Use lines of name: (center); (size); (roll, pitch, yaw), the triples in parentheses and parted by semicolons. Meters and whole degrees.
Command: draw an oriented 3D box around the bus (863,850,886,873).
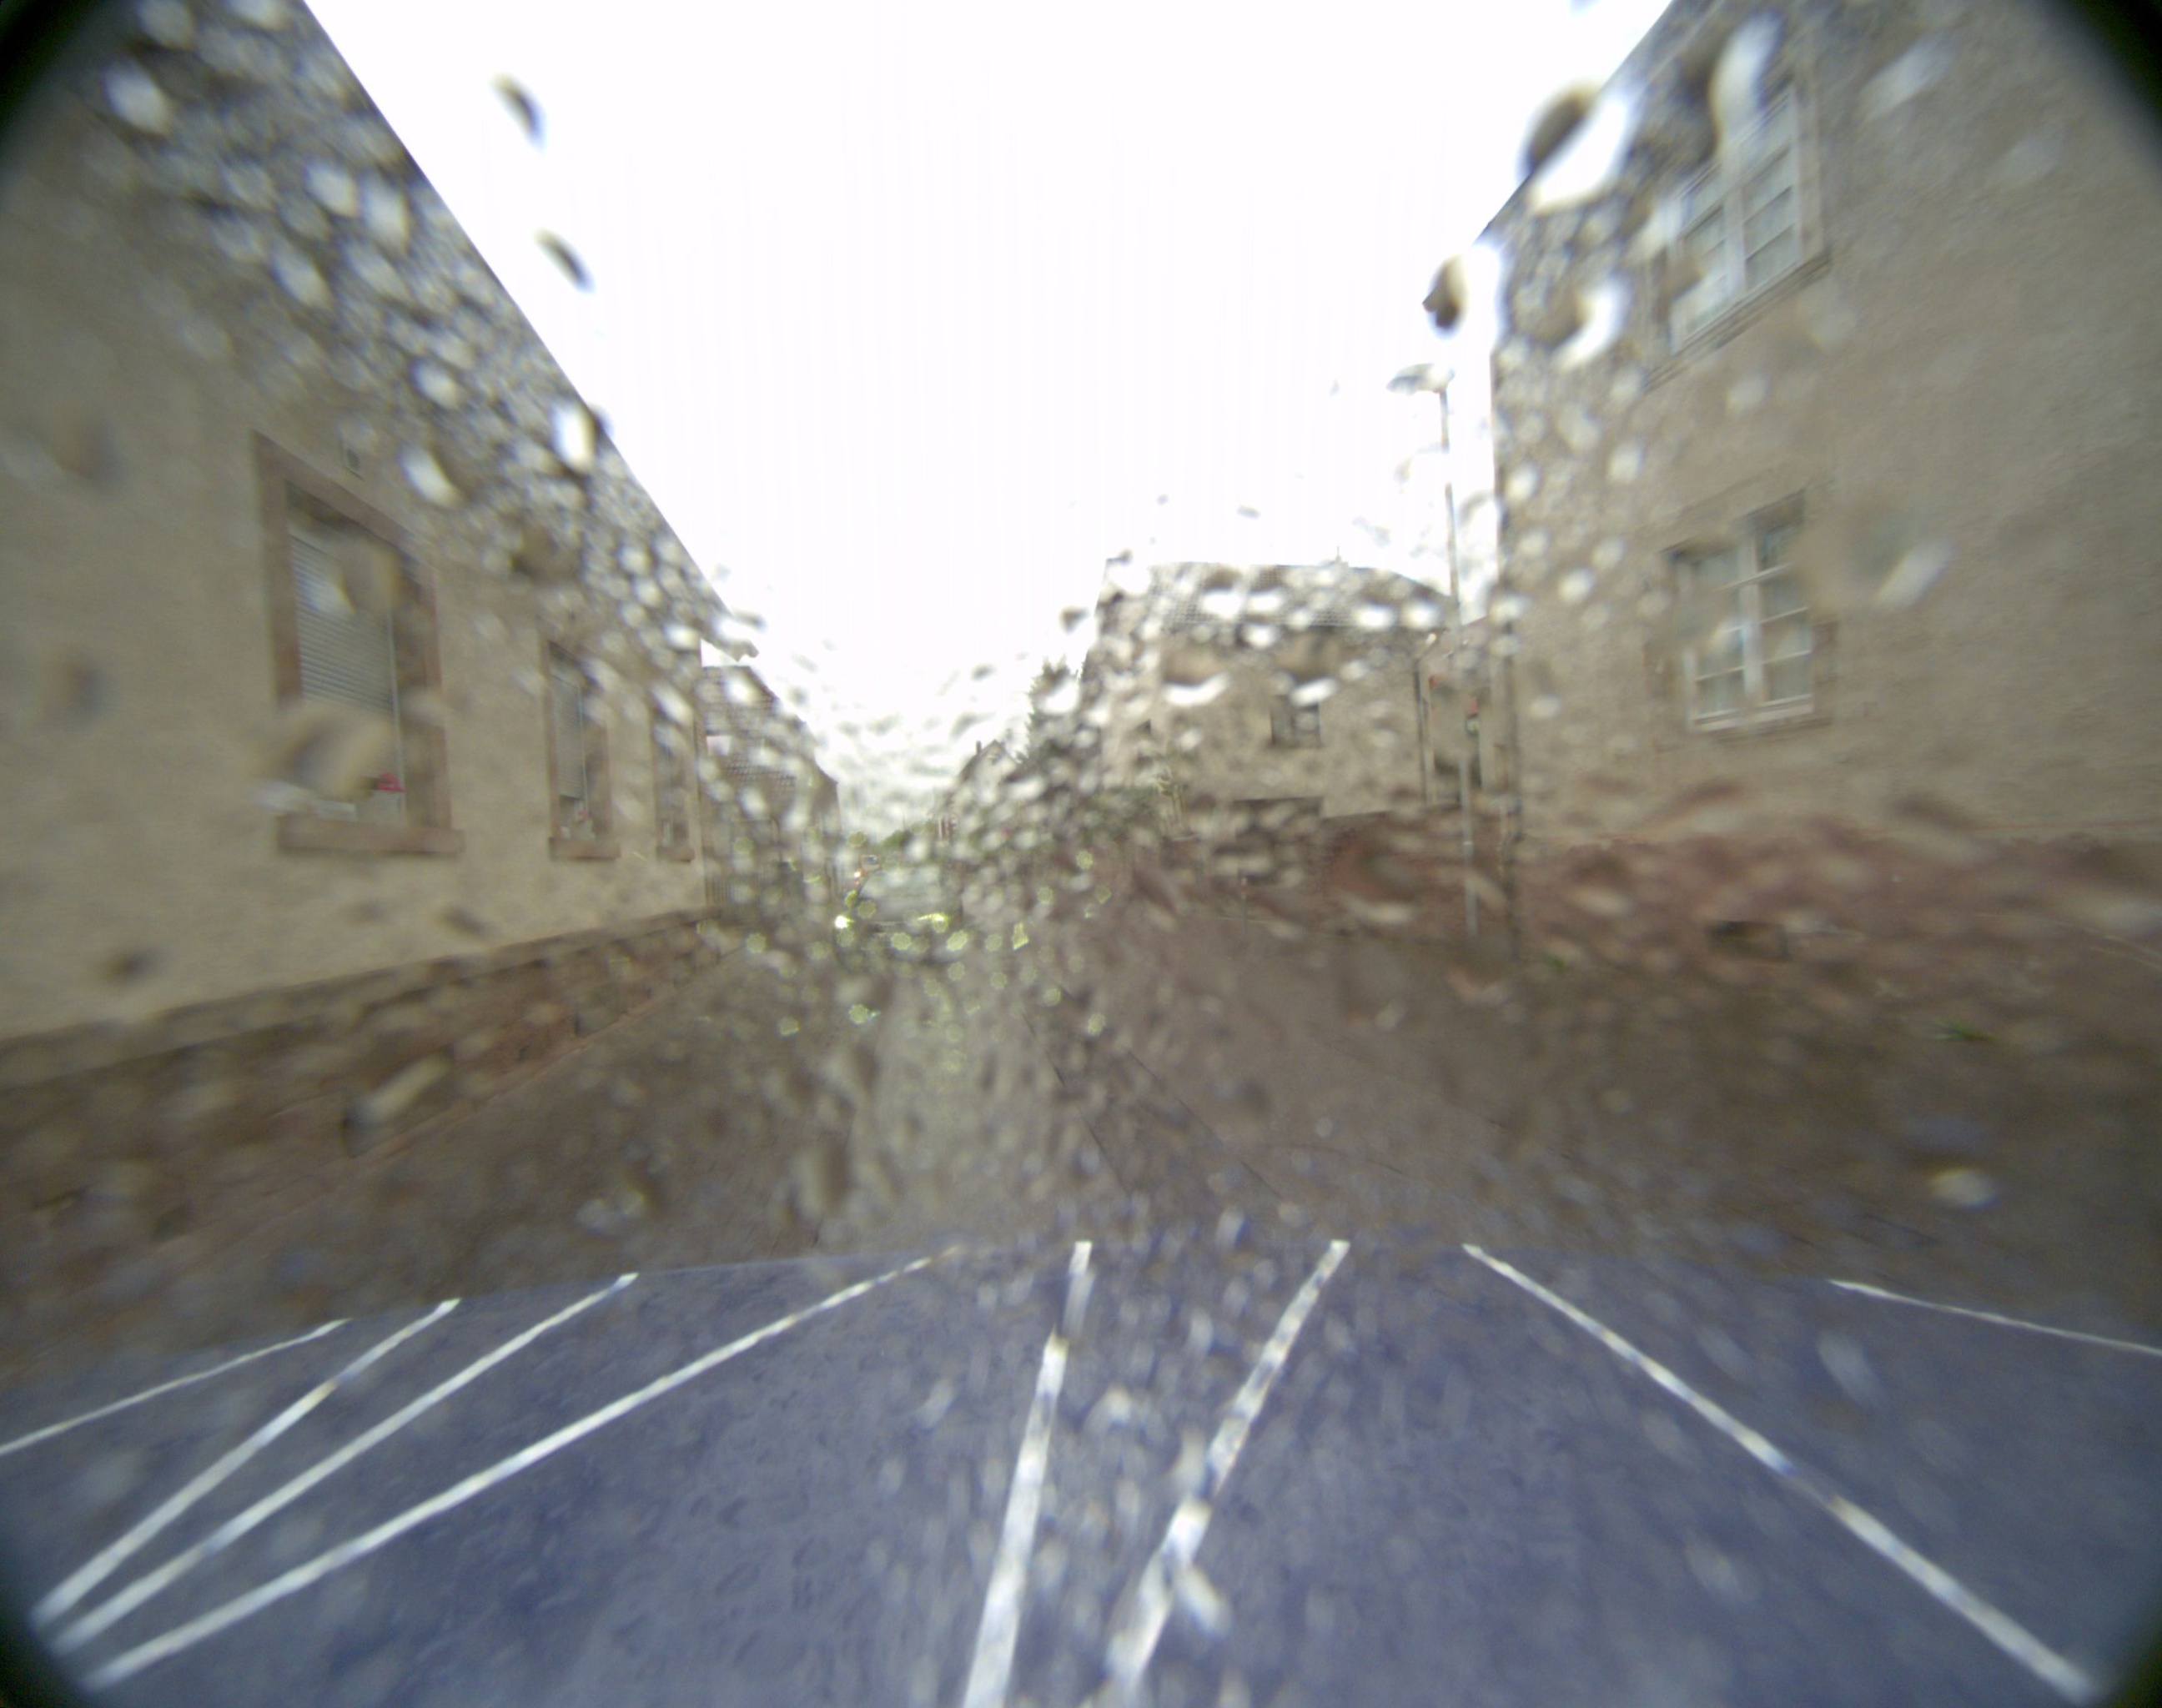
bus: (-29.733, 1.032, 109.571); (2.816, 2.922, 11.926); (-5, 1, -15)

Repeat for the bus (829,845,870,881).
bus: (-25.105, 0.931, 81.837); (3.446, 3.392, 13.848); (-4, 1, -19)

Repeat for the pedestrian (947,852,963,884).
pedestrian: (-7.096, 0.775, 42.738); (0.697, 1.722, 0.820); (-3, 1, -19)

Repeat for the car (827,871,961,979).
car: (-2.977, 1.045, 12.917); (1.781, 1.348, 4.185); (-3, 0, -9)

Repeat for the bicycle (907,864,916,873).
bicycle: (-18.714, 1.647, 83.891); (0.664, 0.865, 1.932); (-5, -1, -21)

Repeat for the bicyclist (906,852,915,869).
bicyclist: (-18.823, 0.711, 83.919); (0.659, 1.759, 0.702); (-5, 0, -22)

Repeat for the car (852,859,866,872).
car: (-38.769, 2.031, 132.753); (2.001, 2.002, 4.237); (-5, 2, -20)
